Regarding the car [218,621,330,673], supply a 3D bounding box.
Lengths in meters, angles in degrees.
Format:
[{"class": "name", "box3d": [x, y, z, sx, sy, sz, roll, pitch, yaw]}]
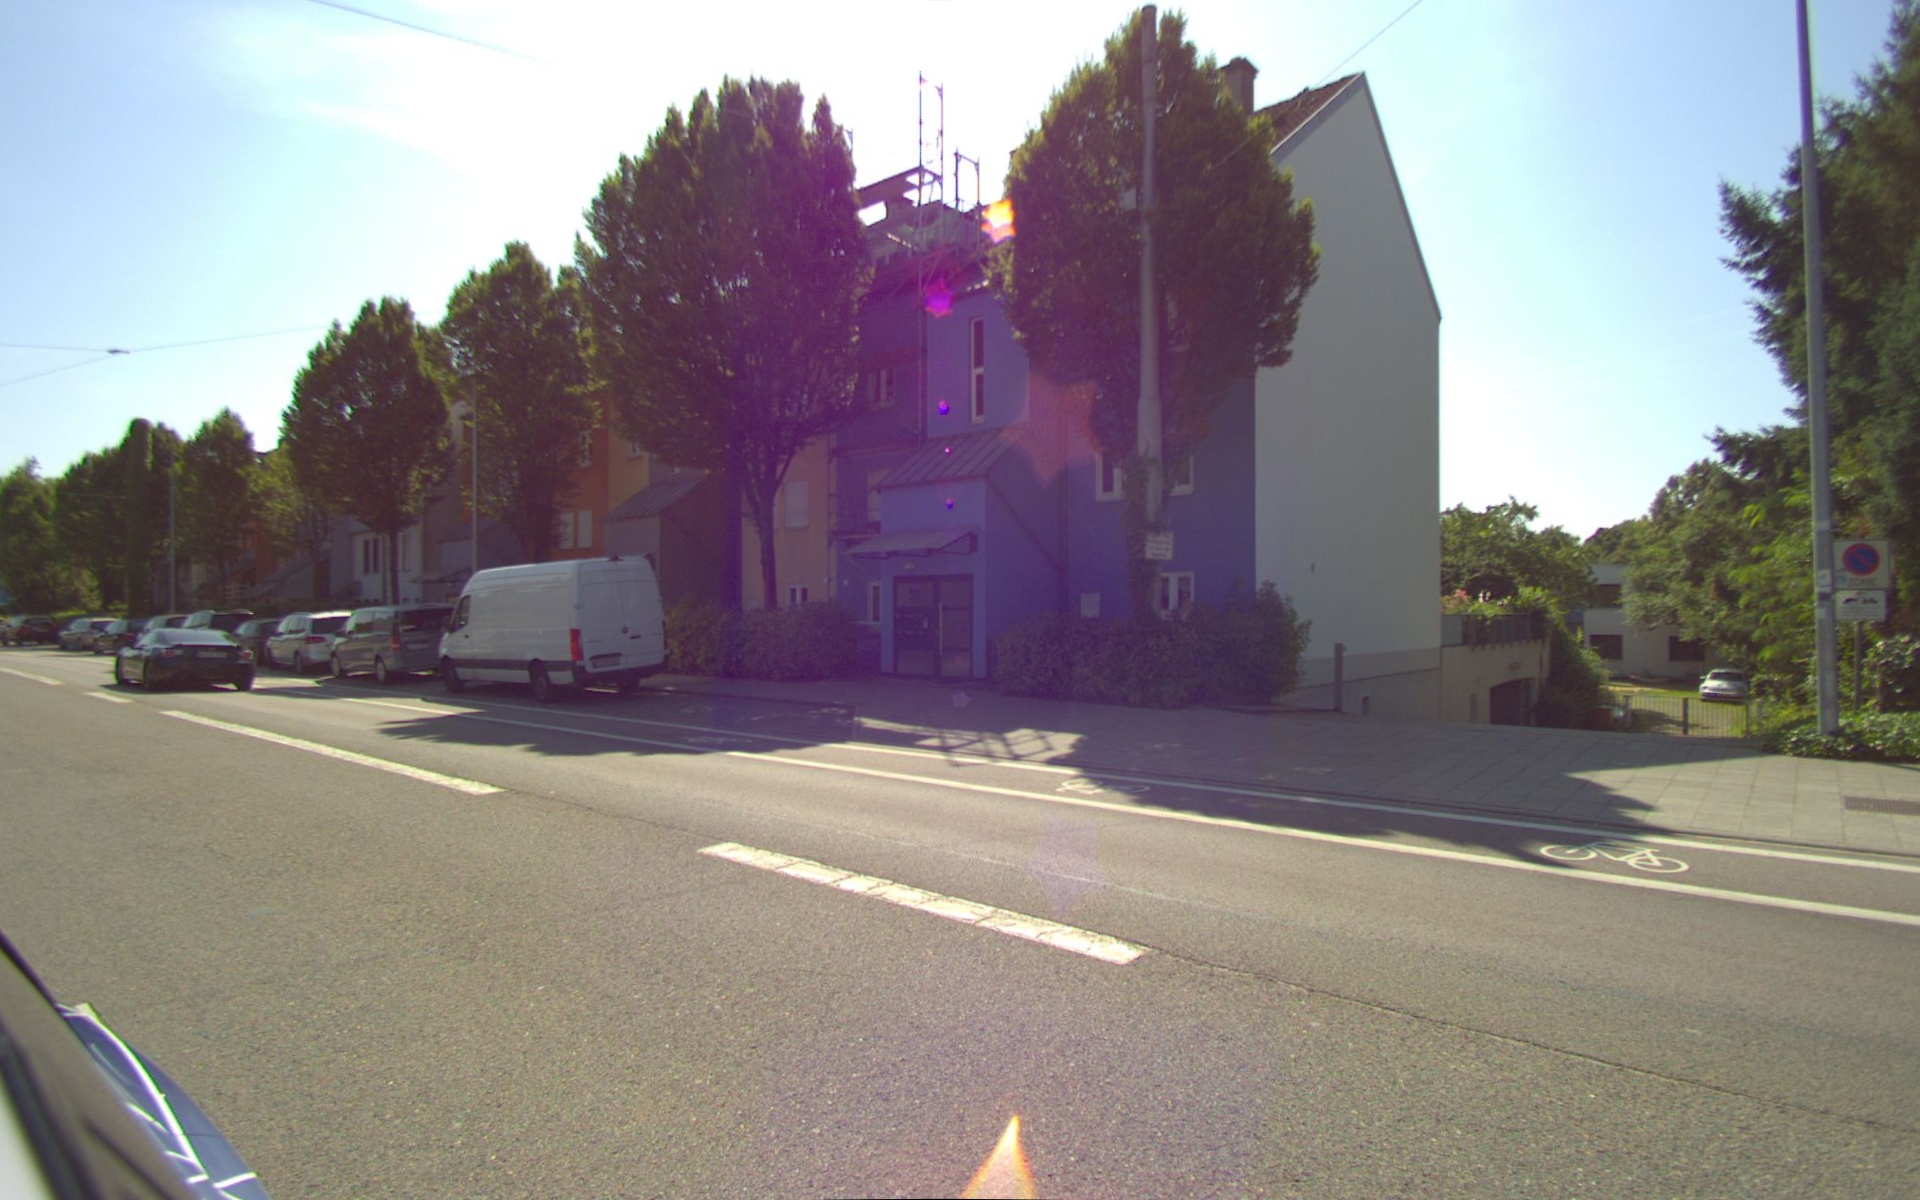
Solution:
[{"class": "car", "box3d": [-22.658, 1.492, 33.382, 4.069, 1.466, 1.849, -1, 2, 38]}]

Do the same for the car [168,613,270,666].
[{"class": "car", "box3d": [-26.646, 1.366, 36.348, 4.343, 1.741, 1.812, -1, 1, 38]}]

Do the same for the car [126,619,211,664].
[{"class": "car", "box3d": [-31.104, 1.591, 39.736, 4.159, 1.619, 1.661, -1, 1, 38]}]

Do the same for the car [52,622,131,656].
[{"class": "car", "box3d": [-40.826, 1.809, 47.526, 4.826, 1.457, 1.663, -1, 0, 35]}]

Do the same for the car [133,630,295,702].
[{"class": "car", "box3d": [-14.653, 1.247, 19.804, 4.062, 1.254, 1.670, -1, -4, 41]}]

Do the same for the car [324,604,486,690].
[{"class": "car", "box3d": [-14.306, 1.138, 25.941, 4.964, 1.879, 1.973, -1, 3, 41]}]

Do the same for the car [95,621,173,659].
[{"class": "car", "box3d": [-35.375, 1.683, 43.315, 4.207, 1.481, 1.661, -1, 1, 38]}]

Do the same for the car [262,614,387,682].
[{"class": "car", "box3d": [-18.531, 1.327, 29.414, 4.539, 1.715, 1.829, 0, 3, 42]}]

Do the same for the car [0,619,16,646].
[{"class": "car", "box3d": [-56.530, 1.908, 58.506, 4.123, 1.510, 2.017, -1, 1, 35]}]

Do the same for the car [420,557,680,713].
[{"class": "car", "box3d": [-8.651, 0.638, 20.866, 7.084, 2.697, 1.973, -1, 2, 42]}]

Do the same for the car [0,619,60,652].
[{"class": "car", "box3d": [-50.067, 1.864, 54.069, 4.920, 1.588, 1.889, -1, 0, 35]}]

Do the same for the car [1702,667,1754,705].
[{"class": "car", "box3d": [35.908, 3.989, 47.281, 1.646, 1.336, 3.946, -3, 0, 41]}]
